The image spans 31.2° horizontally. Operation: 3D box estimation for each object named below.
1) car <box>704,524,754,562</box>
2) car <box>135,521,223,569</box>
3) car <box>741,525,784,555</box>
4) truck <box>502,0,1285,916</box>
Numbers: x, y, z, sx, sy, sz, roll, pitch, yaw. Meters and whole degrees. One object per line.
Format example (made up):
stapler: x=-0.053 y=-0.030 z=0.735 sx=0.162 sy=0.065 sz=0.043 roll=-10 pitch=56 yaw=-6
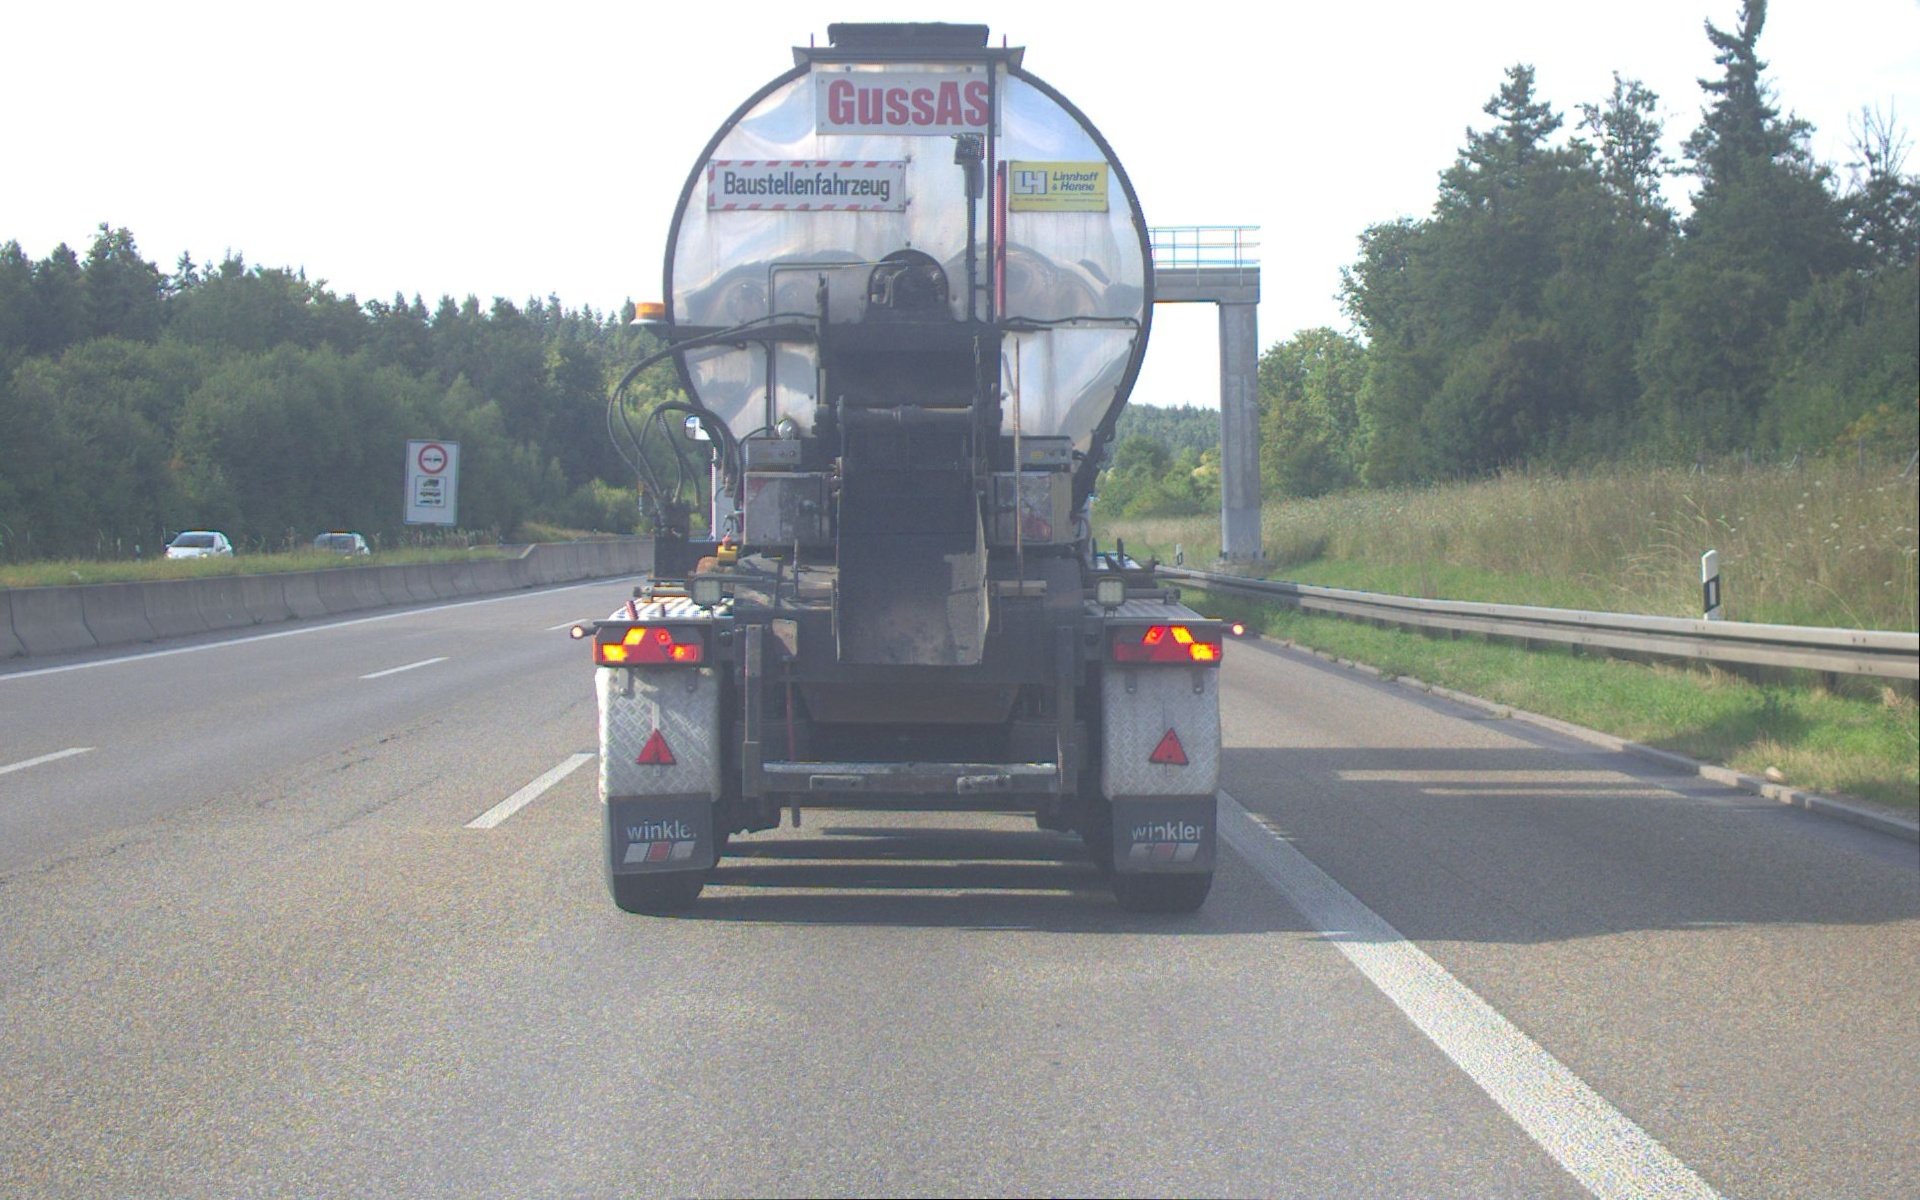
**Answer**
car: x=-9.425 y=-2.341 z=140.608 sx=1.835 sy=1.512 sz=4.333 roll=0 pitch=1 yaw=-1
car: x=-25.430 y=-1.813 z=112.060 sx=1.950 sy=1.534 sz=4.327 roll=0 pitch=1 yaw=-1
car: x=-9.453 y=-2.892 z=165.101 sx=1.856 sy=1.426 sz=4.841 roll=0 pitch=1 yaw=-1
truck: x=-0.311 y=-1.009 z=18.496 sx=2.912 sy=4.143 sz=11.270 roll=0 pitch=1 yaw=-1
